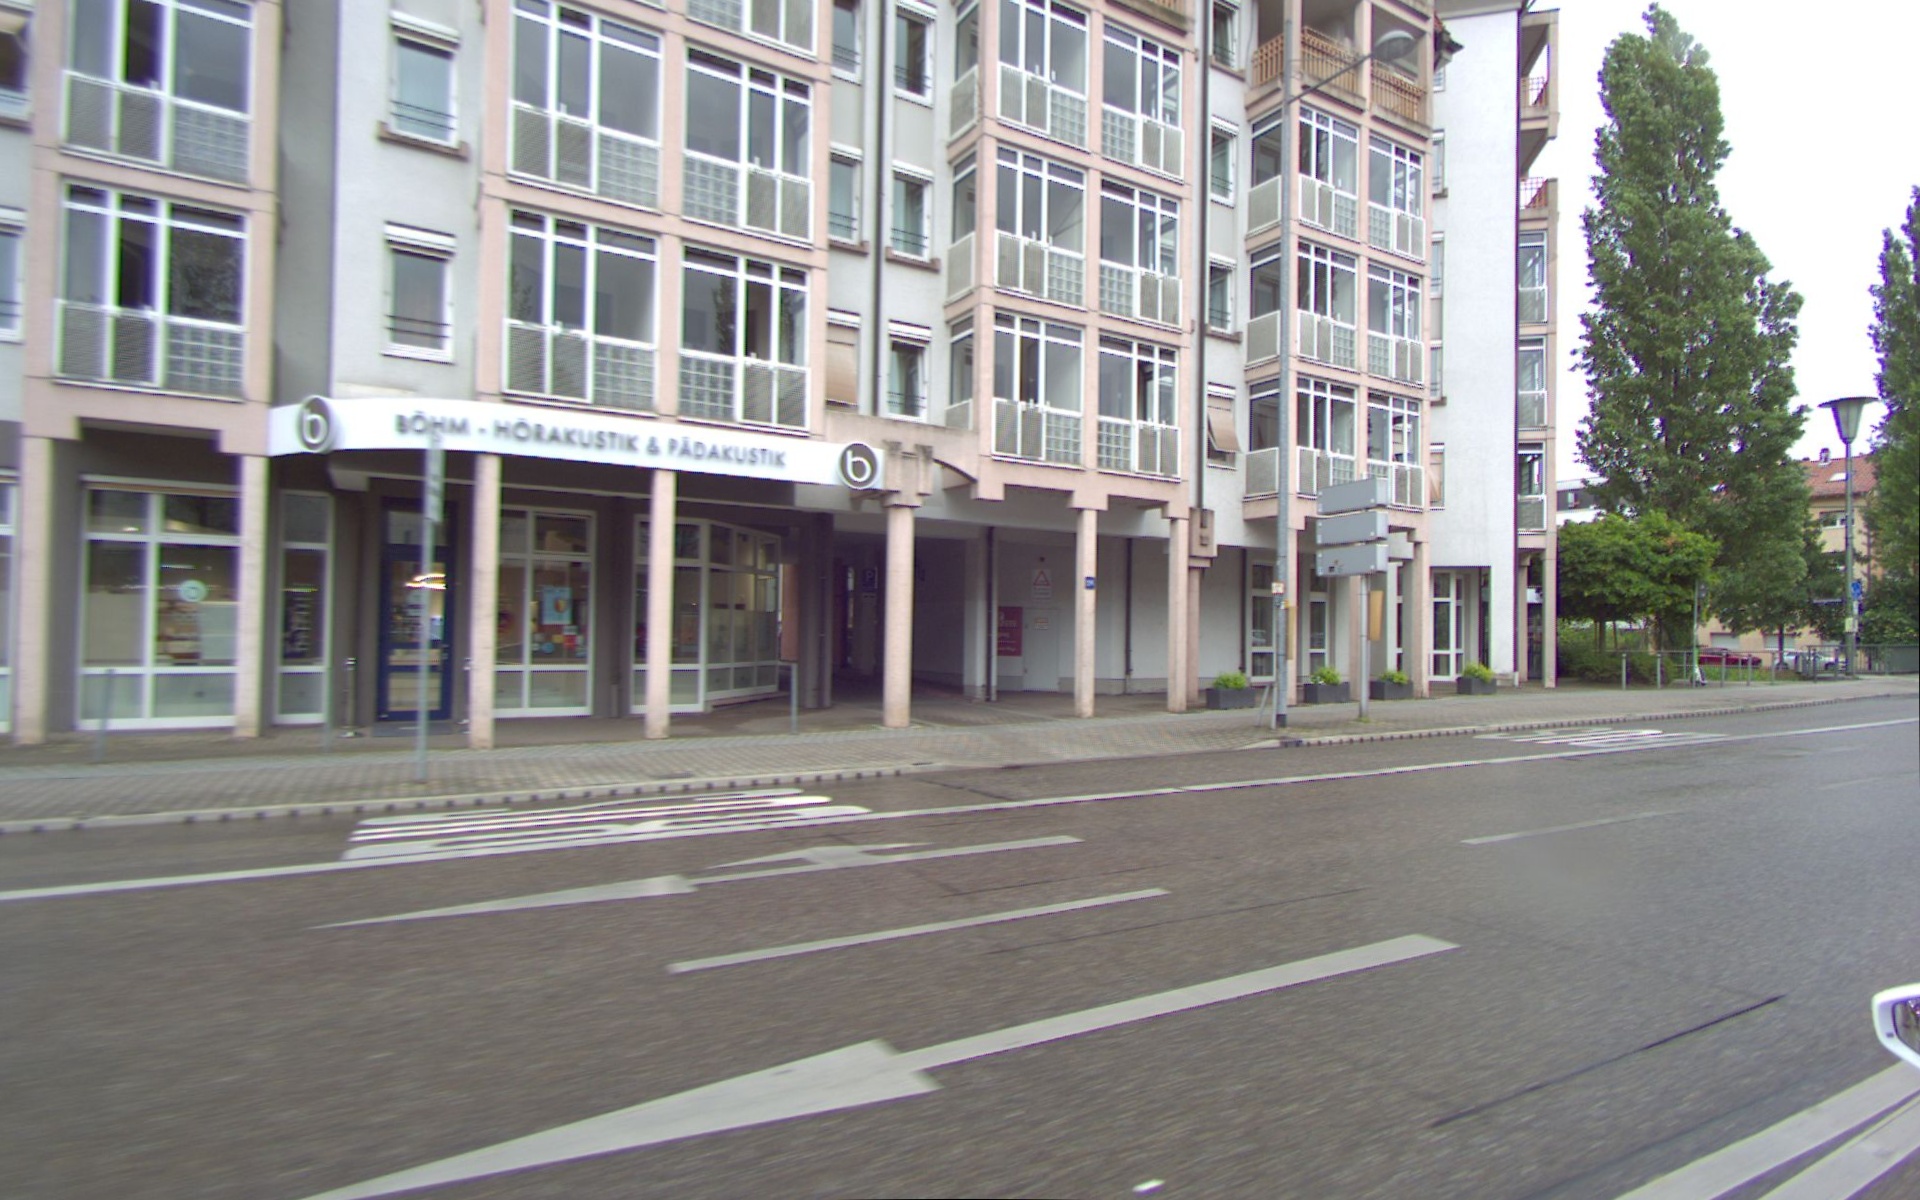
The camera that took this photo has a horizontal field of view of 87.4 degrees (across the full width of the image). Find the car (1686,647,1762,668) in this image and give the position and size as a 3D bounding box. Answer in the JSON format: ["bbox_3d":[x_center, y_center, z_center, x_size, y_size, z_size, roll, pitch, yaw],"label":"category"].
[{"bbox_3d":[54.860,4.112,72.157,1.876,1.406,3.970,2,-2,-29],"label":"car"}]

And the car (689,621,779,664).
[{"bbox_3d":[-11.045,2.082,49.148,3.949,2.040,1.856,1,-3,-28],"label":"car"}]

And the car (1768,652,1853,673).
[{"bbox_3d":[57.422,4.198,67.881,1.876,1.406,3.971,2,-3,-29],"label":"car"}]

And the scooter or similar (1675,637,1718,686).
[{"bbox_3d":[21.123,1.751,28.814,1.556,1.331,0.478,-1,-1,-35],"label":"scooter or similar"}]
